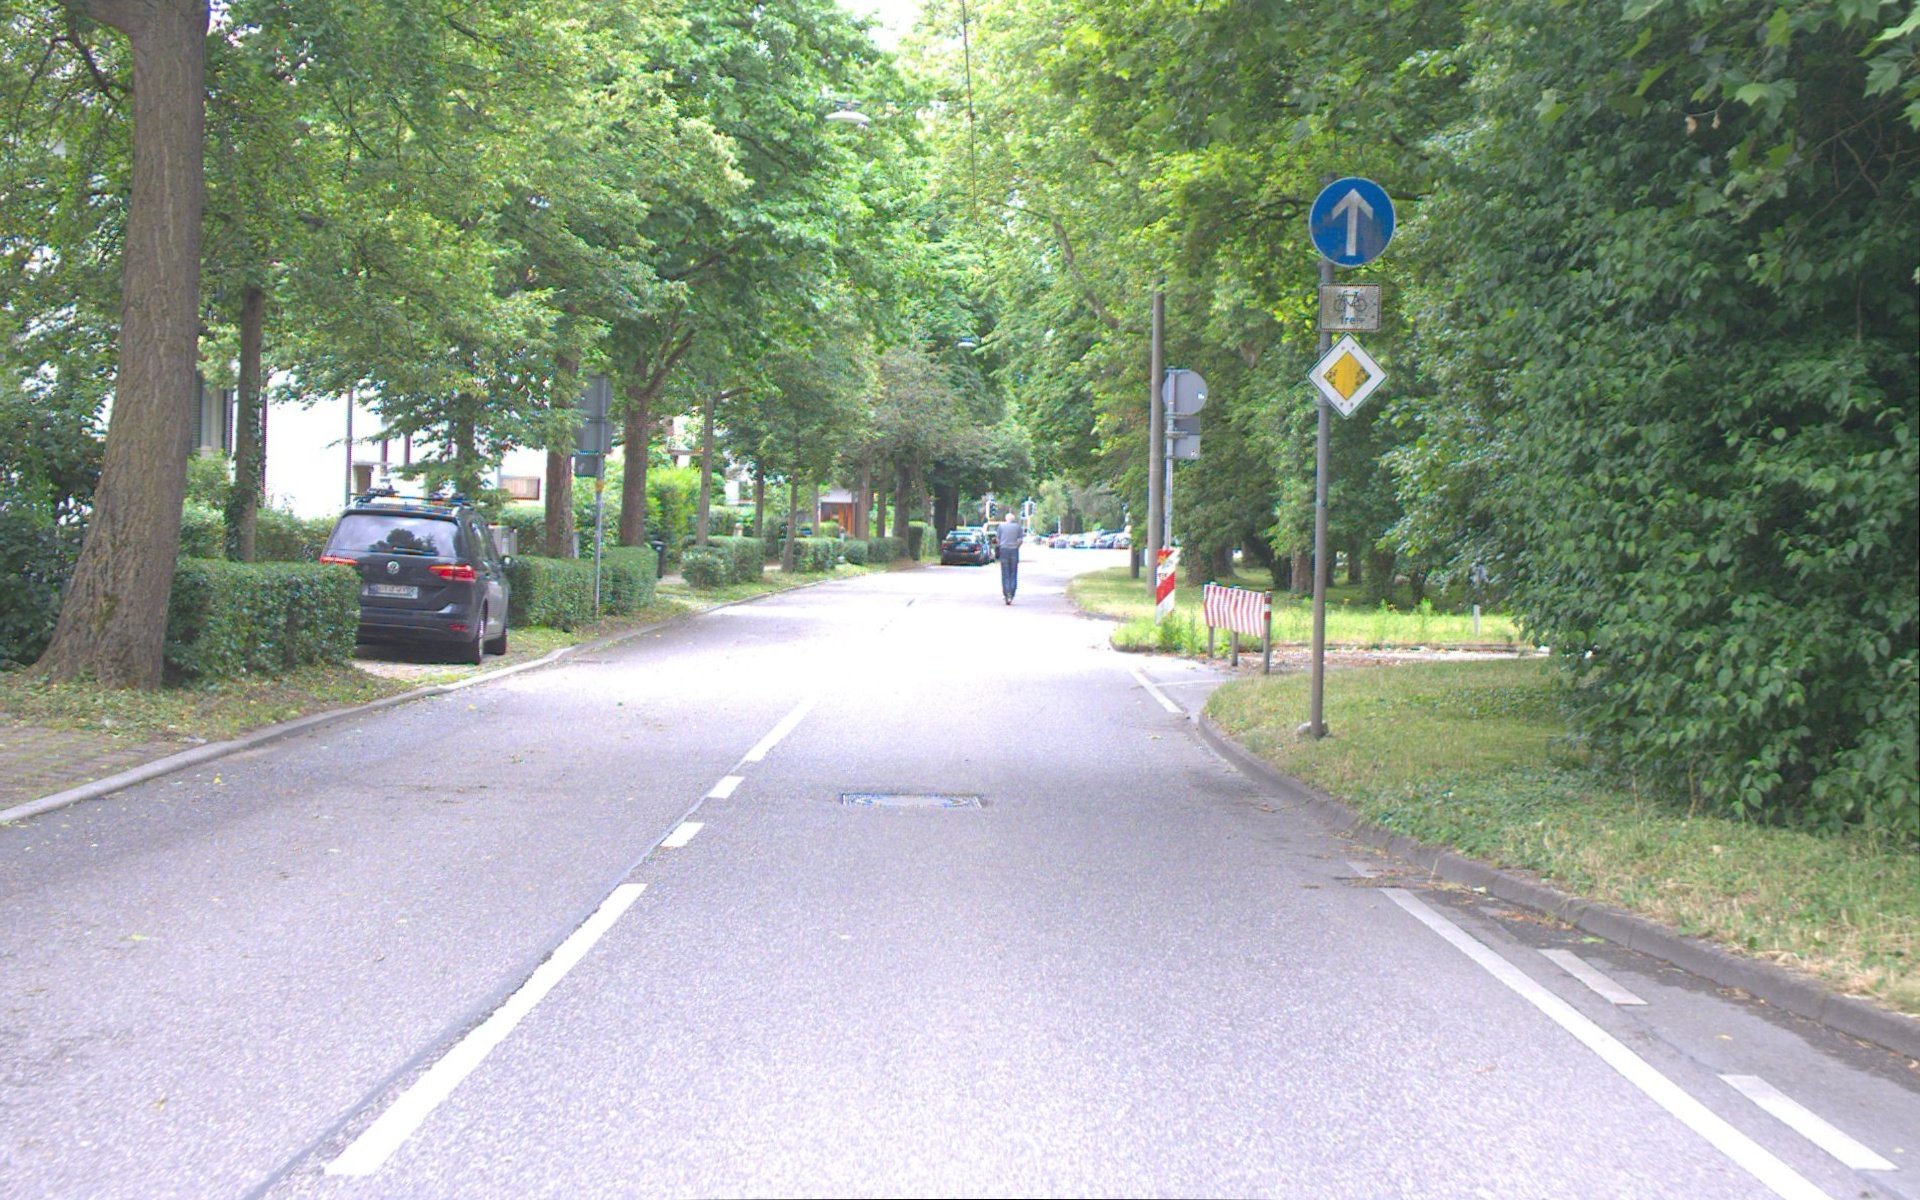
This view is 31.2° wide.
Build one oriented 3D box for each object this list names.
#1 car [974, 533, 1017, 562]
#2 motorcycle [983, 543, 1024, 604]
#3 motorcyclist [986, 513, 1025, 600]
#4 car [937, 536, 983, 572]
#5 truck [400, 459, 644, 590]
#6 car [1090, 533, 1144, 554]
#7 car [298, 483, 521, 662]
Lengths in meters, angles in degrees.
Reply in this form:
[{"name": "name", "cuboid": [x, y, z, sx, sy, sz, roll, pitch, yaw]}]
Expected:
[{"name": "car", "cuboid": [1.816, -2.680, 175.671, 1.892, 1.405, 4.553, 1, 0, 4]}, {"name": "motorcycle", "cuboid": [0.900, -0.549, 70.757, 0.673, 1.213, 1.273, 3, 1, 5]}, {"name": "motorcyclist", "cuboid": [0.930, -0.887, 70.887, 0.673, 1.755, 0.639, 3, 1, 5]}, {"name": "car", "cuboid": [0.014, -1.922, 144.903, 1.794, 1.467, 4.418, 1, 1, 2]}, {"name": "truck", "cuboid": [-11.124, -1.918, 87.617, 5.796, 3.120, 2.518, 2, 1, 1]}, {"name": "car", "cuboid": [11.680, -4.234, 256.433, 3.987, 1.505, 1.800, 1, 1, 2]}, {"name": "car", "cuboid": [-5.860, -0.326, 37.065, 1.824, 1.748, 4.454, 2, 1, -3]}]
